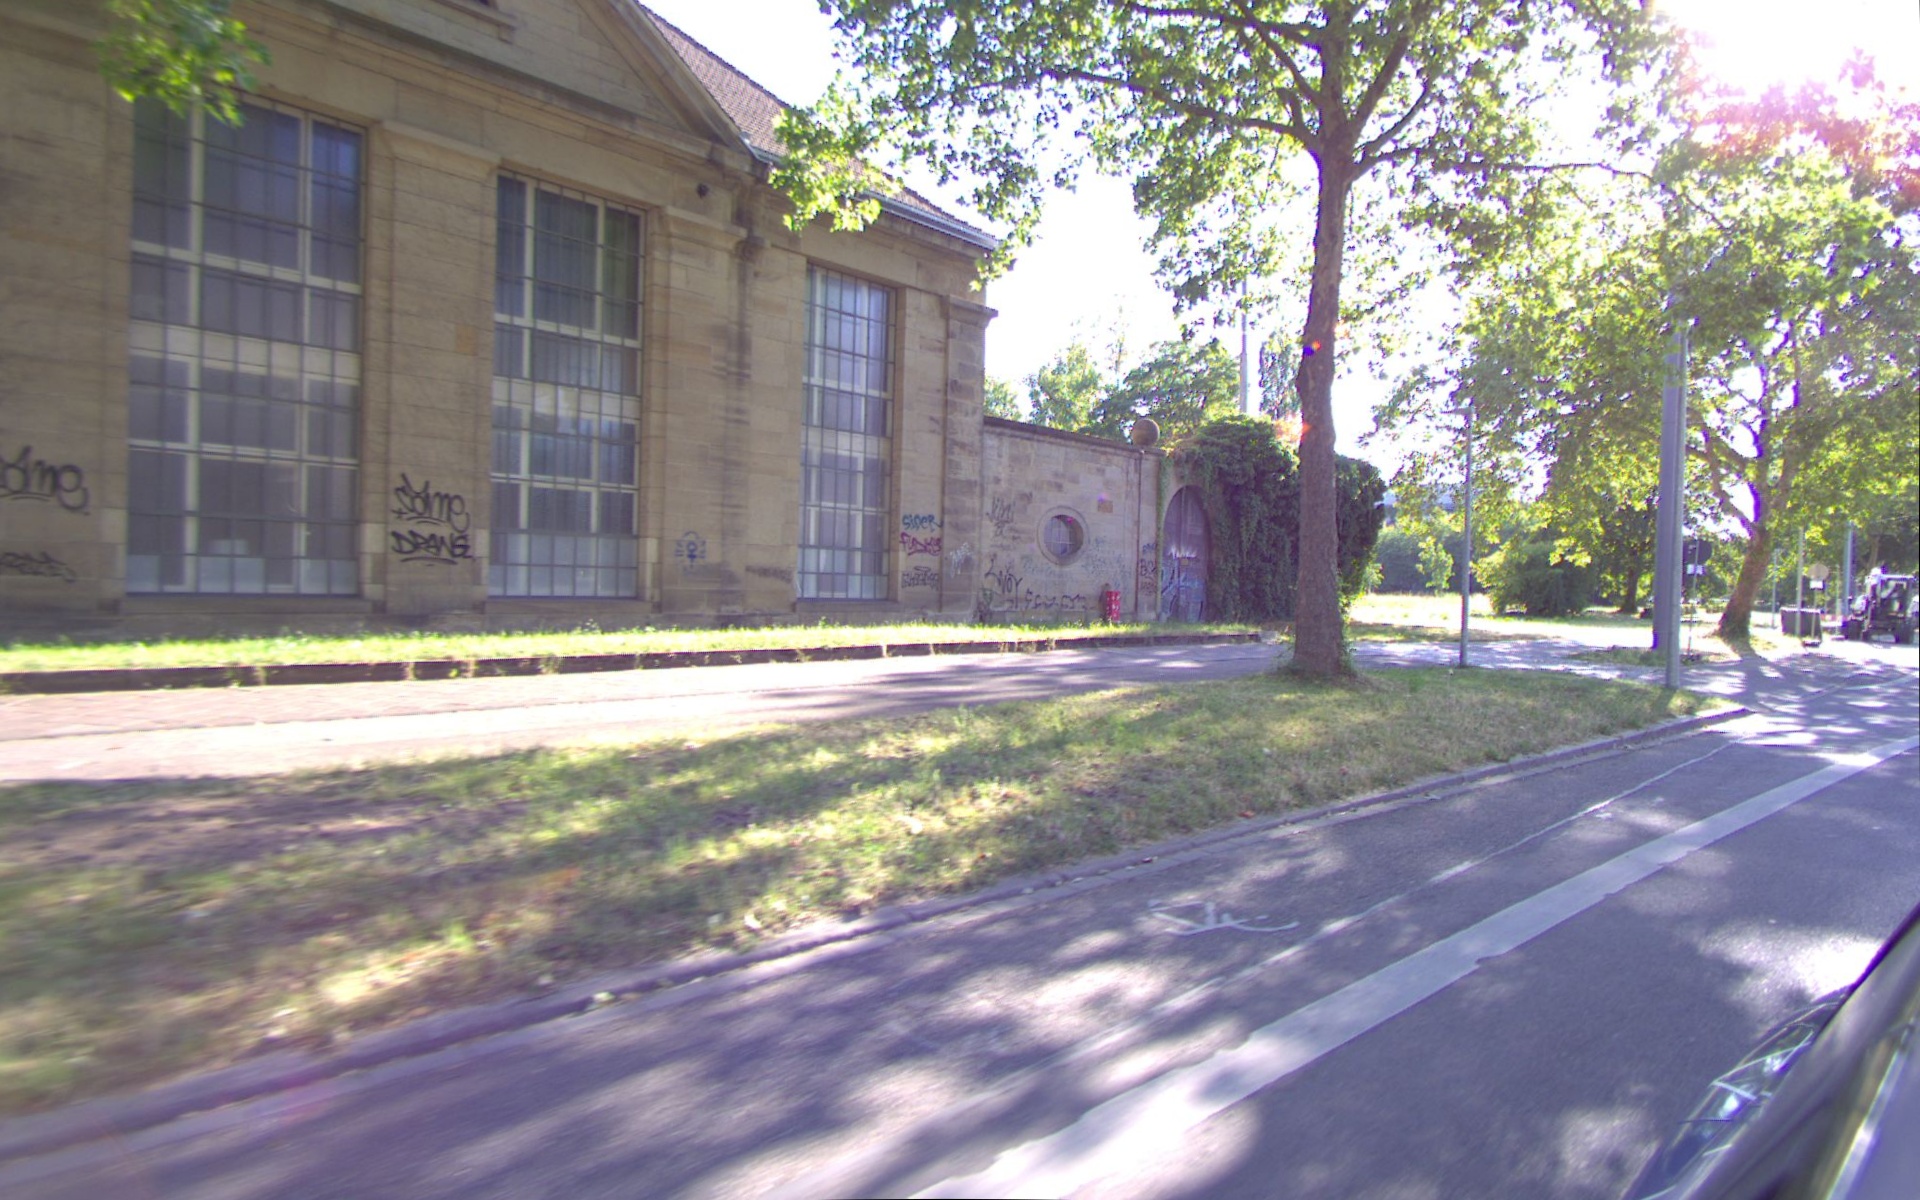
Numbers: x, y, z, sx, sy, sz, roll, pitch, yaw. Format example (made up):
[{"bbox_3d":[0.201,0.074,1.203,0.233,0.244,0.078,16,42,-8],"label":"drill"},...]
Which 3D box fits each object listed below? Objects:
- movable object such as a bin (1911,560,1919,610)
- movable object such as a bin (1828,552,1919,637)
[{"bbox_3d":[81.293,-1.108,83.744,3.341,4.024,7.476,6,4,44],"label":"movable object such as a bin"},{"bbox_3d":[39.333,-0.245,42.972,7.096,3.183,2.750,1,4,-43],"label":"movable object such as a bin"}]
